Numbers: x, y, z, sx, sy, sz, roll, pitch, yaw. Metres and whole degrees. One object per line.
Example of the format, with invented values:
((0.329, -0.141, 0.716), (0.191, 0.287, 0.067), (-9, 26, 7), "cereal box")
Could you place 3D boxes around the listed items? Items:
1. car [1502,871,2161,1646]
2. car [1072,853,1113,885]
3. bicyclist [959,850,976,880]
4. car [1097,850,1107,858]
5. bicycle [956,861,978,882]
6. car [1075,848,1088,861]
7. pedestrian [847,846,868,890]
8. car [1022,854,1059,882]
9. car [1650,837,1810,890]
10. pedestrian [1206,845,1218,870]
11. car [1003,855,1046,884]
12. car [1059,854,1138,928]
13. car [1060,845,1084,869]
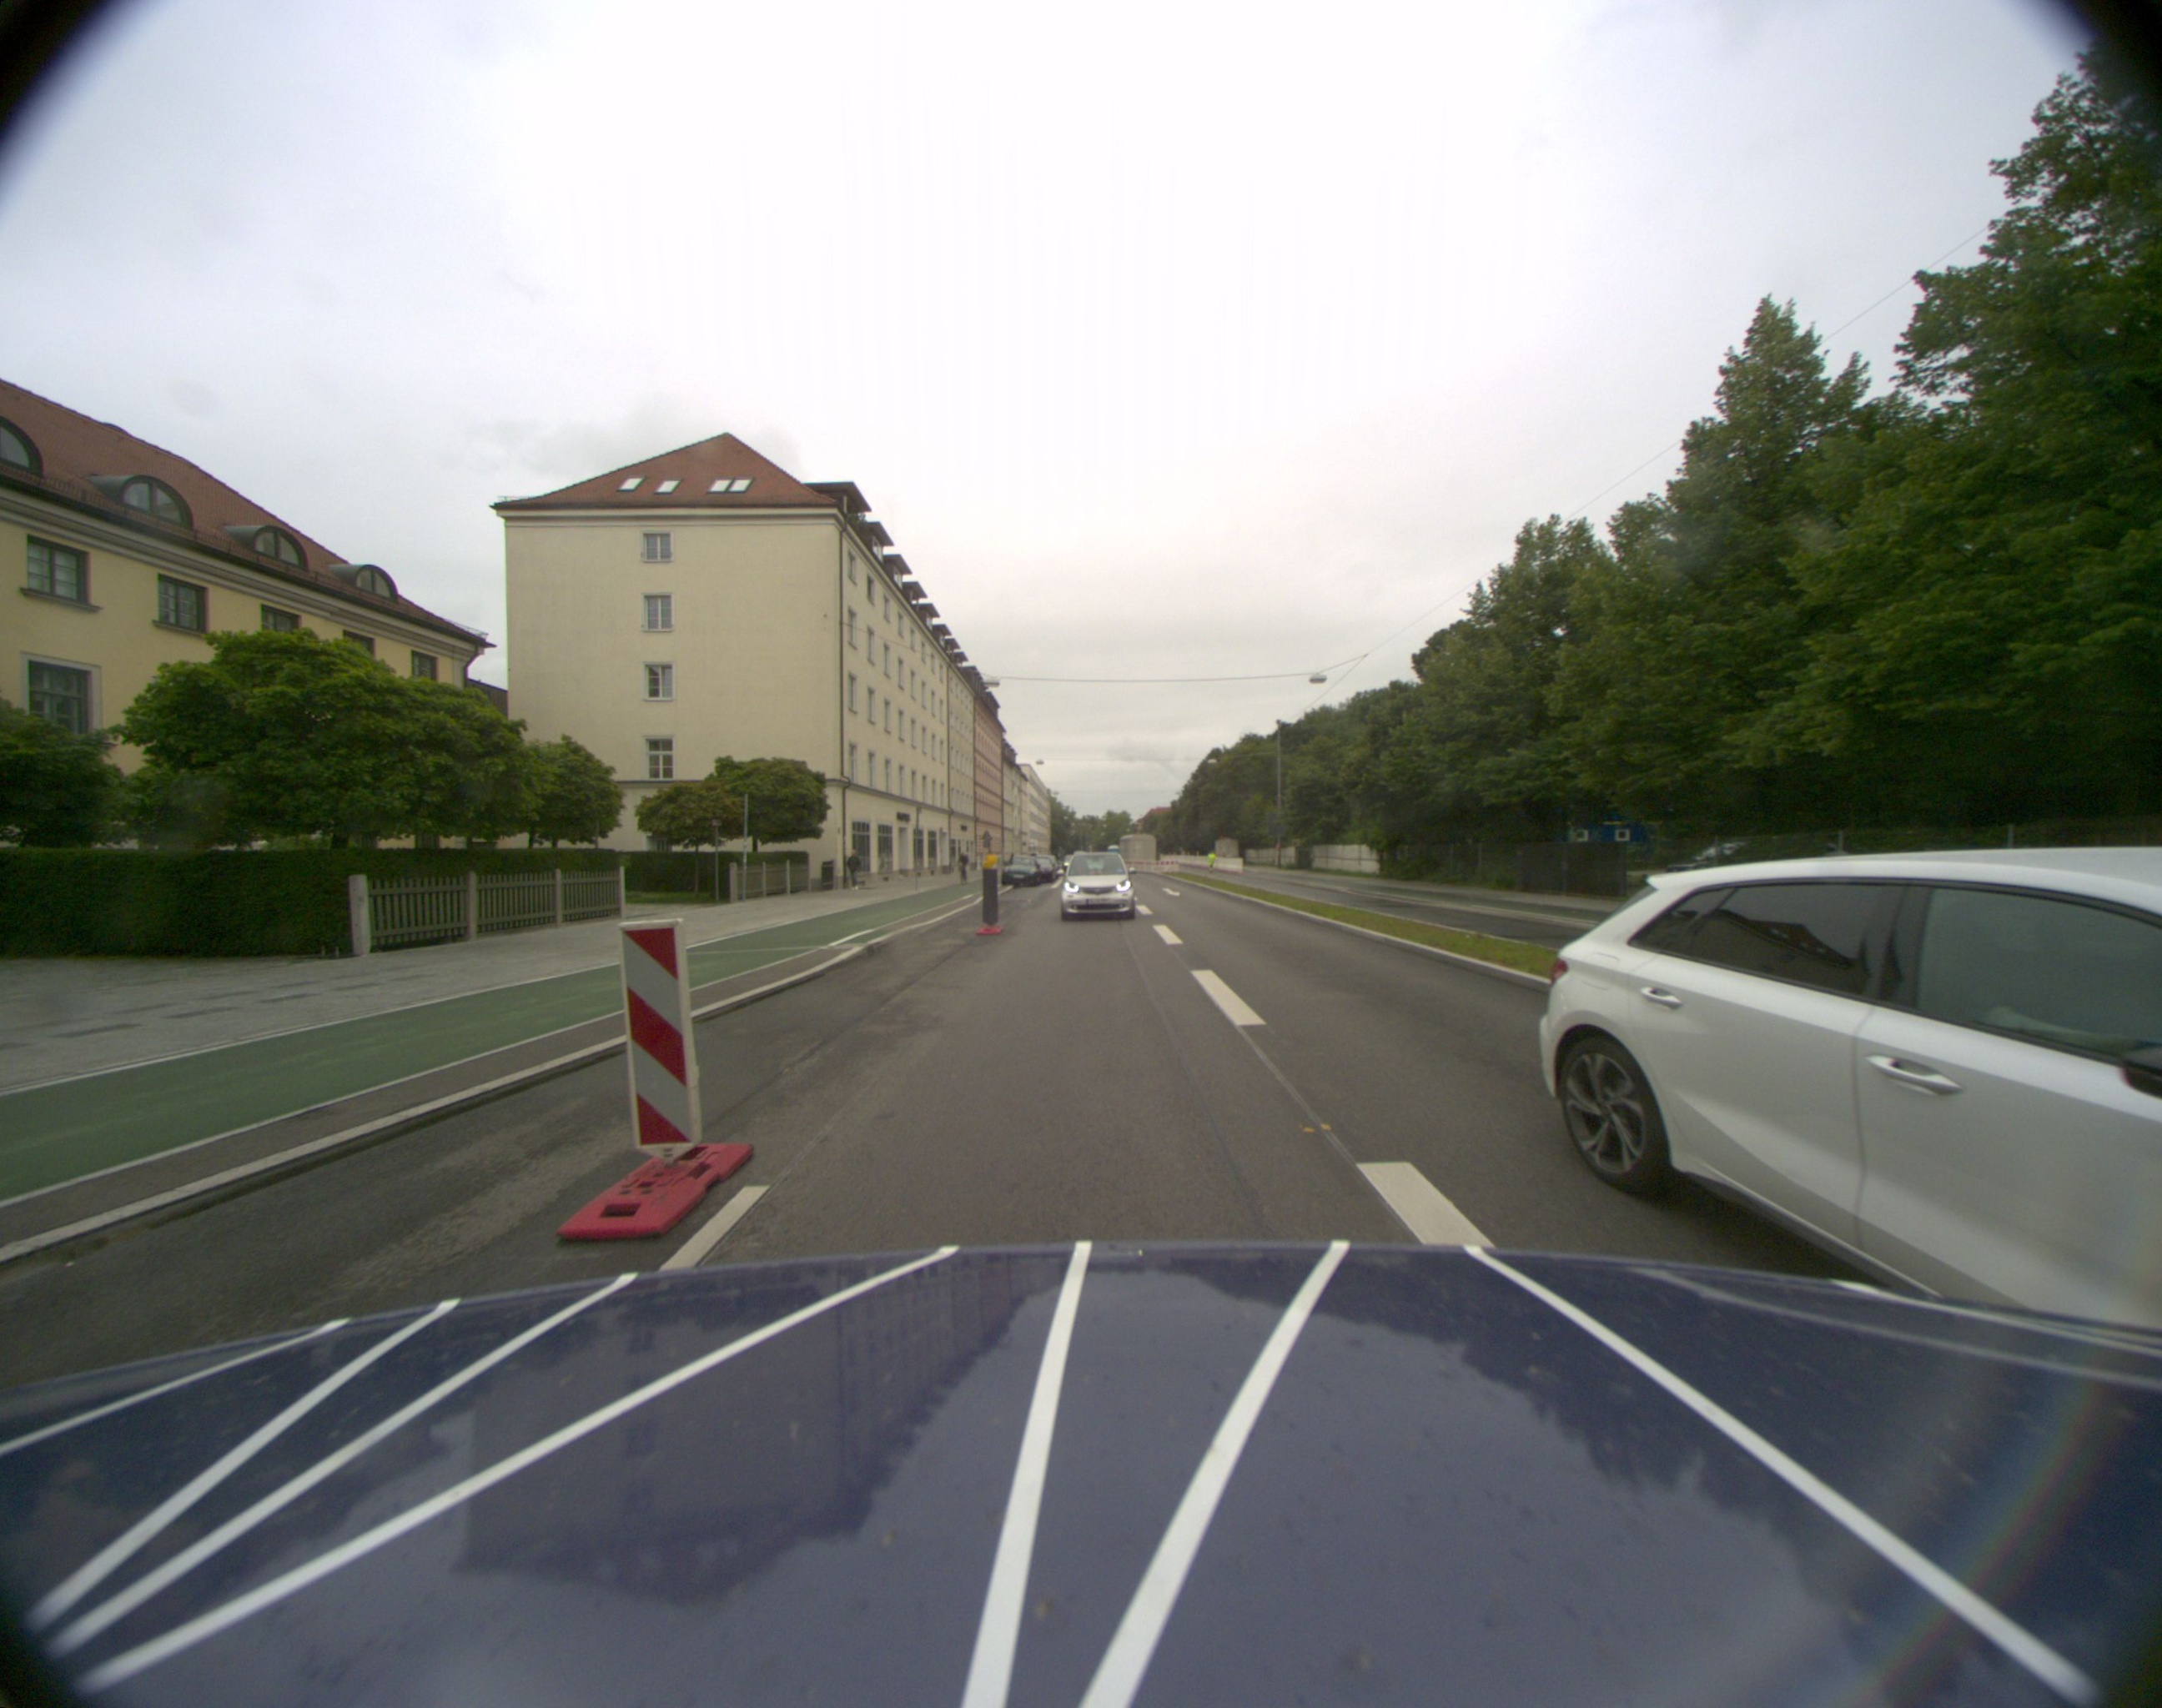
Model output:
((3.056, 0.846, 1.694), (1.817, 1.416, 4.452), (-2, 0, 1), "car")
((0.582, 0.708, 38.755), (1.922, 1.433, 4.306), (-3, 0, 1), "car")
((-6.072, 0.583, 40.557), (0.724, 1.543, 0.858), (-2, 1, 0), "bicyclist")
((3.520, -0.011, 128.199), (1.739, 1.425, 4.000), (-1, 0, 1), "car")
((-6.062, 0.936, 40.566), (0.751, 1.026, 2.531), (-2, 0, 1), "bicycle")
((0.043, 0.075, 124.798), (1.998, 2.002, 4.000), (0, 1, 1), "car")
((-9.744, 0.603, 33.096), (0.655, 1.863, 0.826), (1, 1, 1), "pedestrian")
((-2.223, 0.727, 42.642), (1.739, 1.425, 4.000), (-1, 0, 1), "car")
((23.127, 0.315, 27.220), (4.036, 1.700, 1.875), (-2, 3, 5), "car")
((10.689, 0.294, 62.025), (0.757, 2.002, 0.867), (-2, 1, 1), "pedestrian")
((-2.745, 0.727, 37.450), (1.739, 1.313, 4.000), (-1, 0, 1), "car")
((0.402, 0.783, 18.059), (1.633, 1.495, 4.000), (-1, 0, 1), "car")
((-0.719, 0.223, 65.703), (1.998, 2.002, 4.000), (0, 1, 0), "car")
